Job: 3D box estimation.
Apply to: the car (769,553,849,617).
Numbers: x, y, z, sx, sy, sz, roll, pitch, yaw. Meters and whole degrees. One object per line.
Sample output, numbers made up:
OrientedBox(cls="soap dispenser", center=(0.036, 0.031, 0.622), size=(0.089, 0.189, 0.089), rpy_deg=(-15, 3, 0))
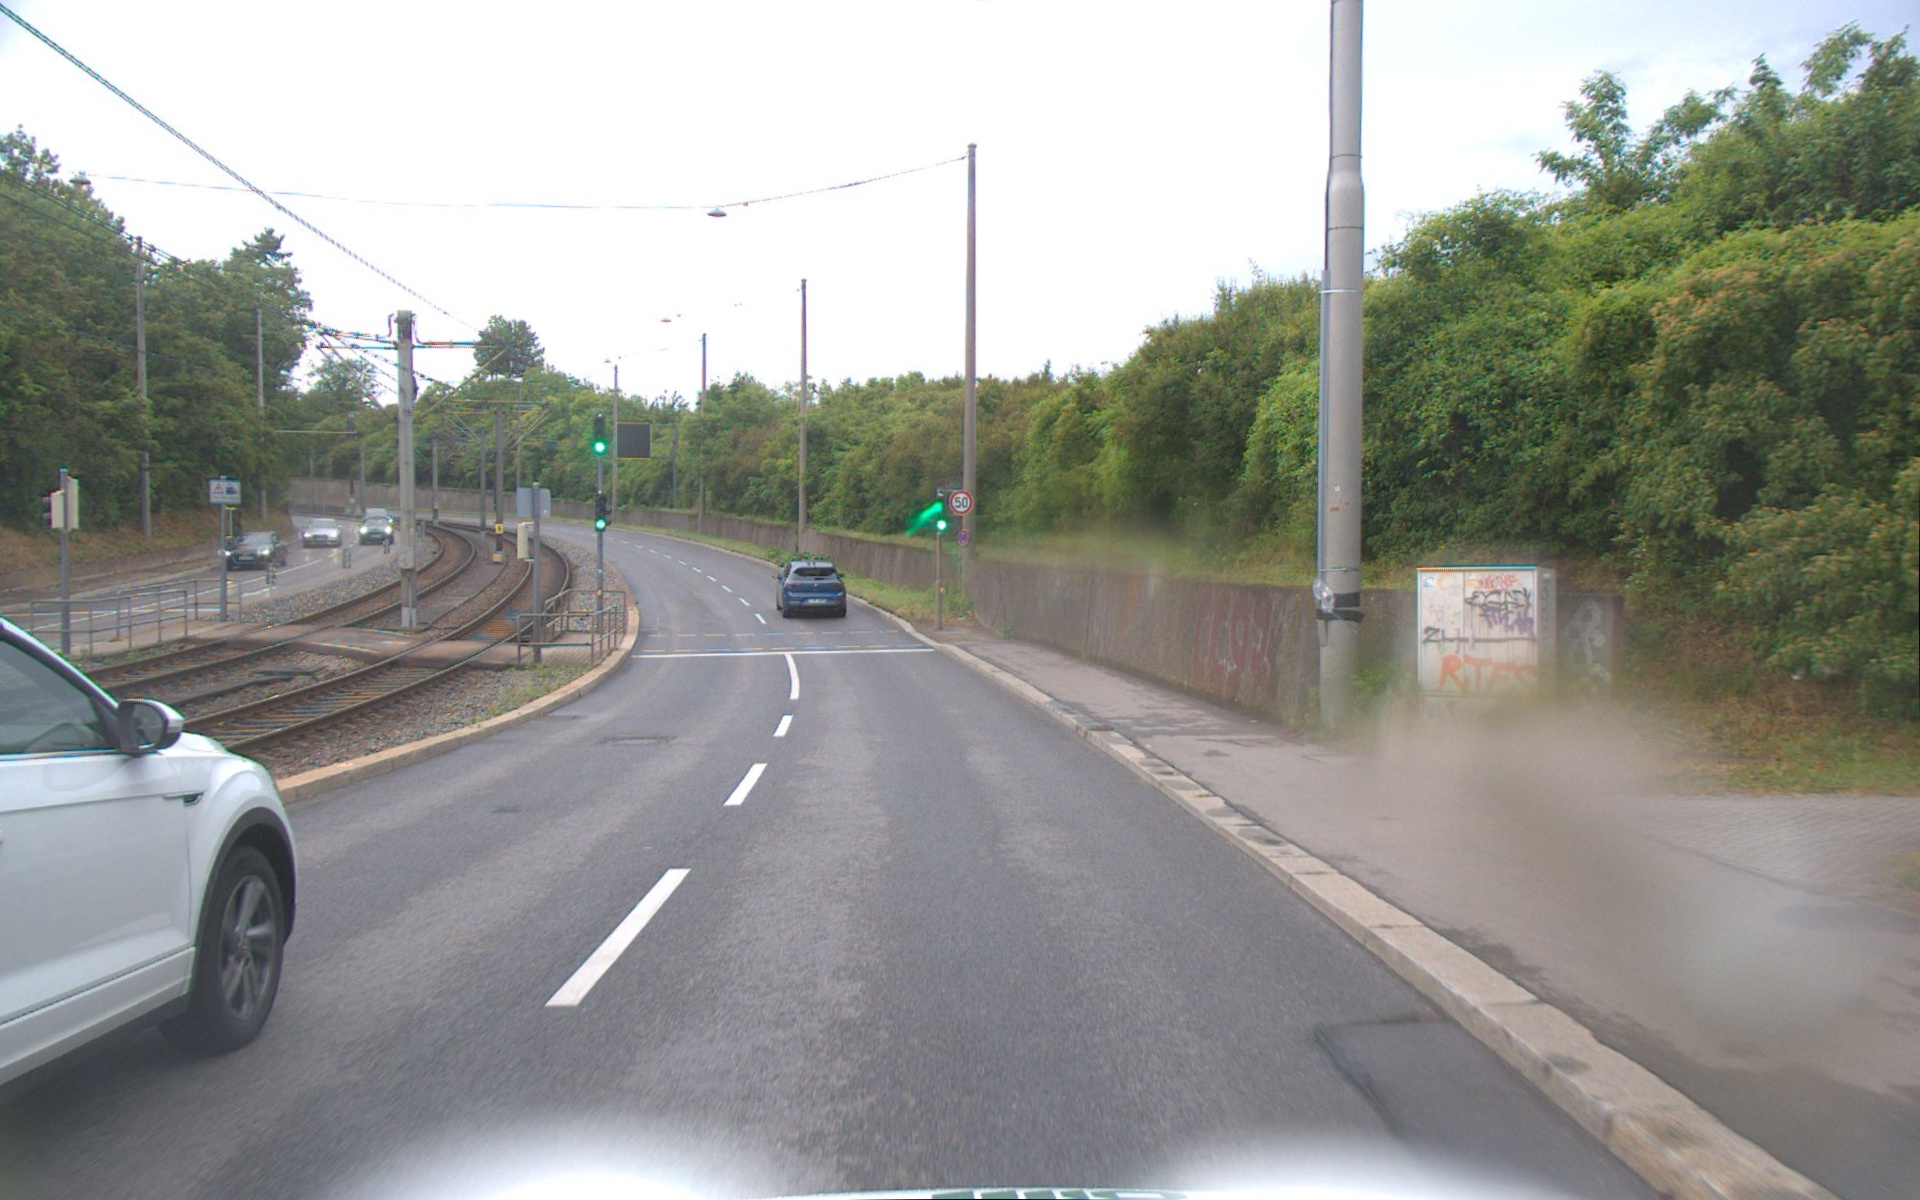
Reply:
OrientedBox(cls="car", center=(-4.216, -0.465, 45.746), size=(1.733, 1.526, 3.989), rpy_deg=(-1, 4, -12))

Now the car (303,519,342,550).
OrientedBox(cls="car", center=(-33.602, -3.485, 87.152), size=(1.793, 1.403, 4.677), rpy_deg=(-3, 5, -21))

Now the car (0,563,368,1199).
OrientedBox(cls="car", center=(-3.154, 0.684, 4.143), size=(1.834, 1.550, 4.539), rpy_deg=(0, 1, -2))

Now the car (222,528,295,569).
OrientedBox(cls="car", center=(-27.813, -2.063, 65.681), size=(1.685, 1.483, 4.267), rpy_deg=(-2, 3, -10))

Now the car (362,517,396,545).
OrientedBox(cls="car", center=(-31.718, -3.762, 90.293), size=(1.609, 1.408, 3.872), rpy_deg=(-4, 4, -21))
